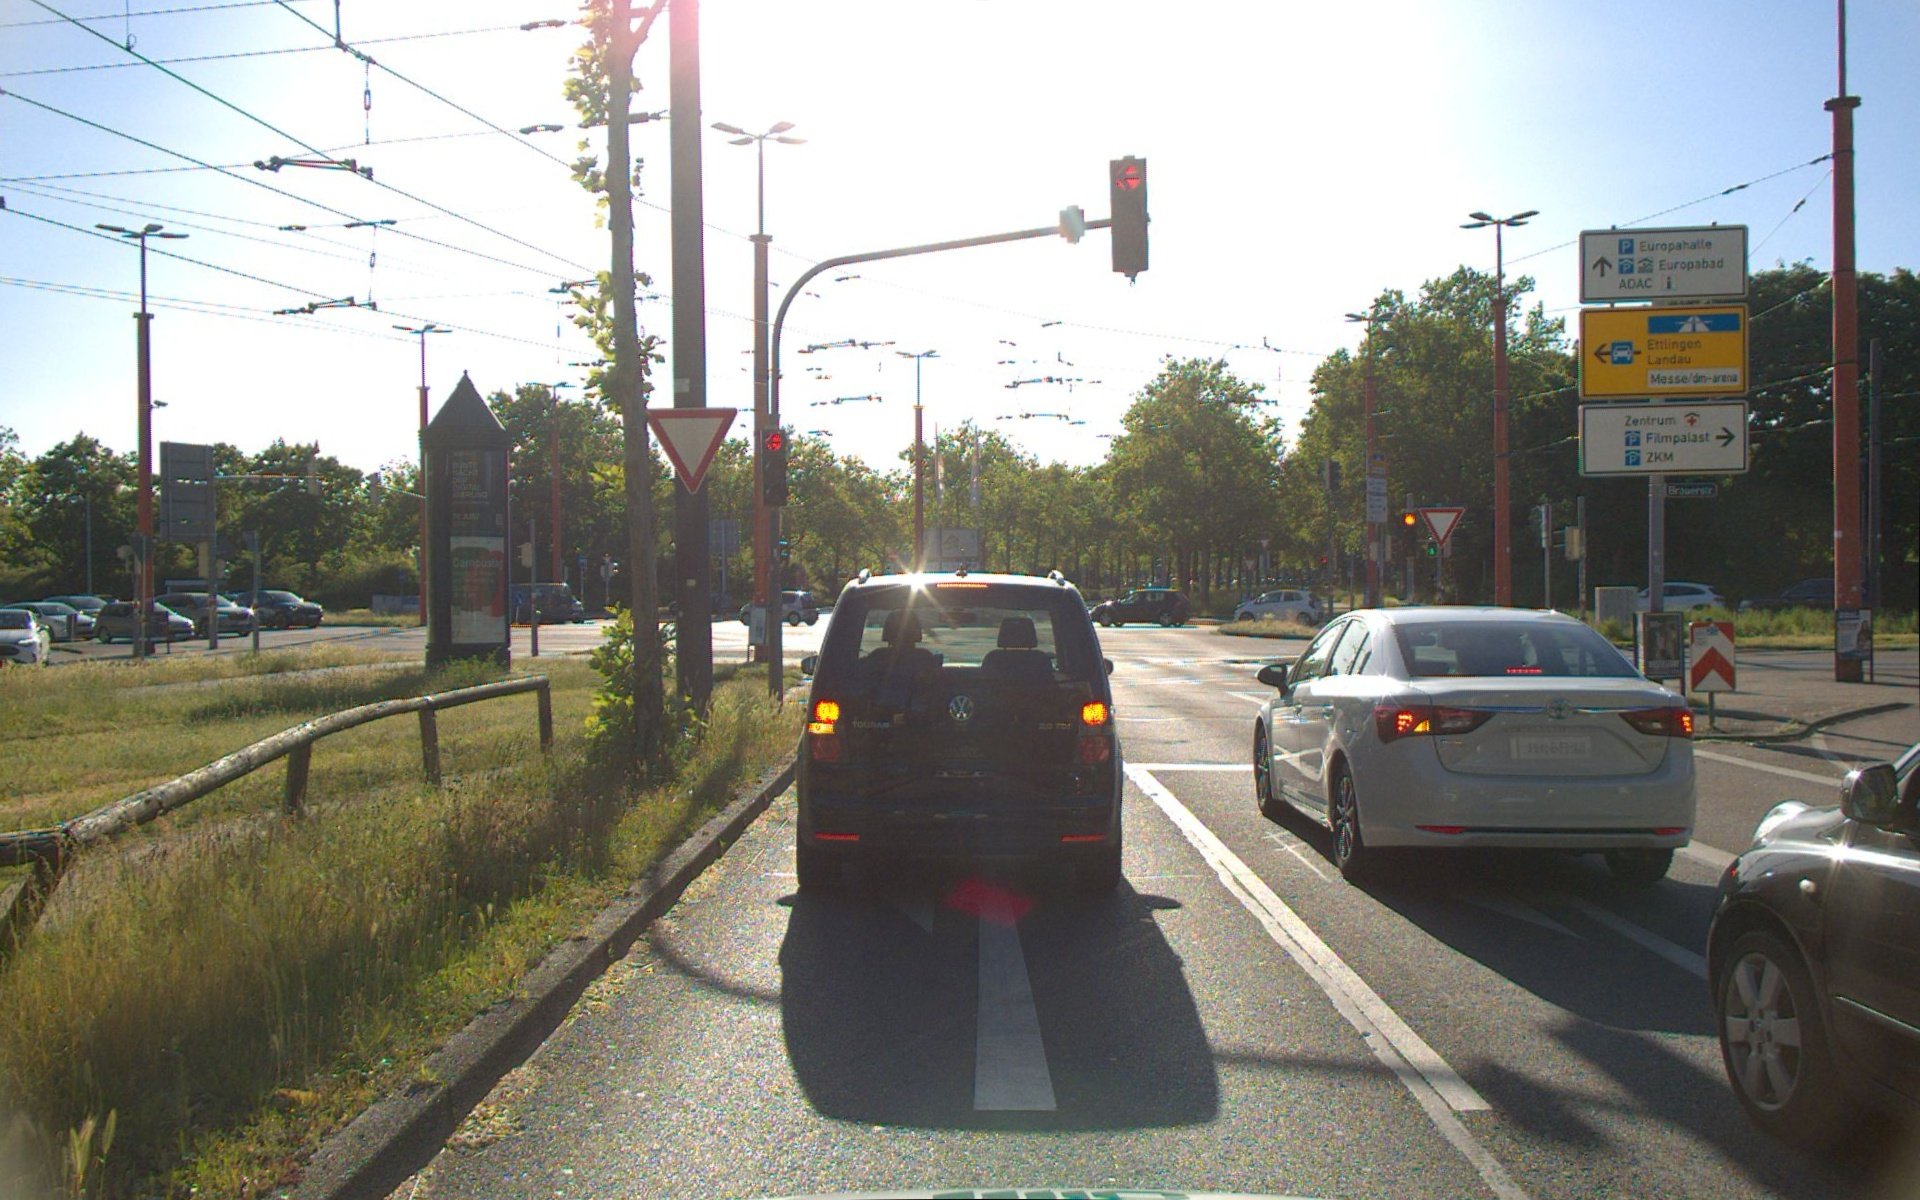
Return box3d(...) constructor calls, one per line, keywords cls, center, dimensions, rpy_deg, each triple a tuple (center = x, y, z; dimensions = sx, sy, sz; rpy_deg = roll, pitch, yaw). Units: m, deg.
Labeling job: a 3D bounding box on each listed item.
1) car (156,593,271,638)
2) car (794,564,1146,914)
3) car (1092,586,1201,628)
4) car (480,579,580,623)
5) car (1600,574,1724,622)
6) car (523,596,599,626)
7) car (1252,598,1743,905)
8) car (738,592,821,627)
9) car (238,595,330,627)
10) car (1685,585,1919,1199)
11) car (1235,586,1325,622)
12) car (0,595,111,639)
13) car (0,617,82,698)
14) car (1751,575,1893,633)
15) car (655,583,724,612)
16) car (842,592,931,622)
box3d(cls="car", center=(-28.948, 0.577, 64.187), dimensions=(3.907, 1.673, 1.999), rpy_deg=(0, 0, 24))
box3d(cls="car", center=(0.013, 0.647, 9.796), dimensions=(1.666, 1.650, 3.896), rpy_deg=(0, 0, -1))
box3d(cls="car", center=(7.500, 0.270, 66.436), dimensions=(3.942, 1.624, 2.000), rpy_deg=(0, 0, 23))
box3d(cls="car", center=(-20.885, 0.052, 80.356), dimensions=(4.478, 2.049, 1.999), rpy_deg=(0, 0, 24))
box3d(cls="car", center=(25.739, -0.065, 60.749), dimensions=(4.144, 1.711, 1.702), rpy_deg=(0, 0, 23))
box3d(cls="car", center=(-20.609, 0.566, 85.355), dimensions=(3.662, 1.499, 1.599), rpy_deg=(0, 0, 26))
box3d(cls="car", center=(2.979, 0.730, 10.131), dimensions=(1.685, 1.463, 4.198), rpy_deg=(1, 0, 1))
box3d(cls="car", center=(-7.926, 0.414, 72.658), dimensions=(3.325, 1.483, 1.464), rpy_deg=(0, 0, 23))
box3d(cls="car", center=(-29.273, 0.478, 71.578), dimensions=(3.913, 1.353, 1.694), rpy_deg=(0, 0, 31))
box3d(cls="car", center=(3.178, 0.740, 3.573), dimensions=(1.620, 1.526, 3.614), rpy_deg=(1, 0, 0))
box3d(cls="car", center=(13.064, 0.147, 67.488), dimensions=(3.368, 1.392, 1.289), rpy_deg=(1, 0, 26))
box3d(cls="car", center=(-34.650, 0.624, 63.178), dimensions=(4.091, 1.640, 1.867), rpy_deg=(0, 0, 25))
box3d(cls="car", center=(-22.728, 1.326, 39.746), dimensions=(1.962, 1.761, 4.822), rpy_deg=(0, 0, -17))
box3d(cls="car", center=(29.115, 0.123, 55.999), dimensions=(4.108, 1.916, 1.766), rpy_deg=(0, 0, 23))
box3d(cls="car", center=(-16.476, -0.118, 101.004), dimensions=(1.883, 1.664, 3.984), rpy_deg=(1, 0, 36))
box3d(cls="car", center=(-3.376, 0.340, 76.103), dimensions=(3.751, 1.286, 1.602), rpy_deg=(1, 0, 23))
